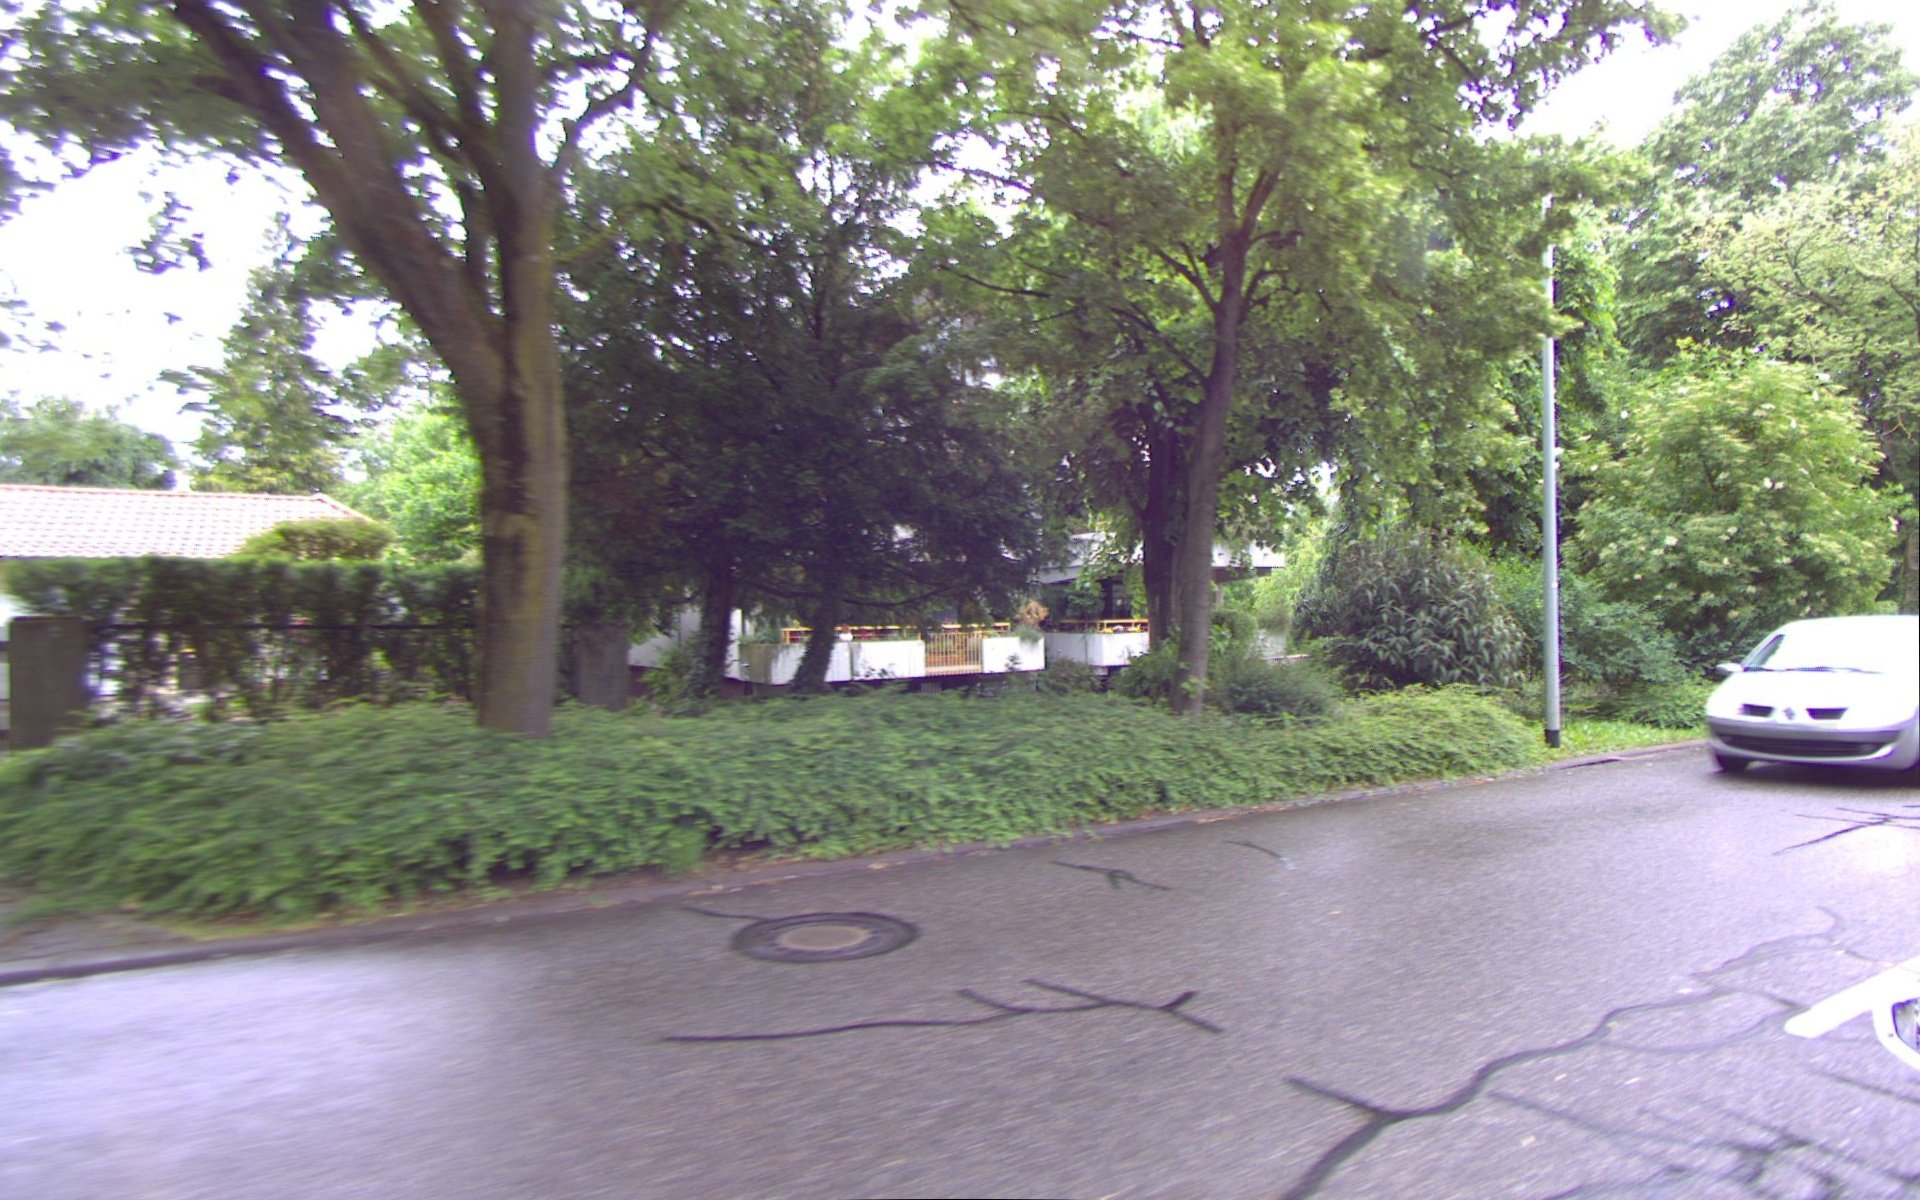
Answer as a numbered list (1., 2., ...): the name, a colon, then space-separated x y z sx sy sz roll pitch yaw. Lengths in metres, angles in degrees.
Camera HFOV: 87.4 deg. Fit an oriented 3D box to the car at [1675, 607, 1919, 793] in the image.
1. car: 9.610 0.942 10.713 4.094 1.635 1.755 1 -3 -32
